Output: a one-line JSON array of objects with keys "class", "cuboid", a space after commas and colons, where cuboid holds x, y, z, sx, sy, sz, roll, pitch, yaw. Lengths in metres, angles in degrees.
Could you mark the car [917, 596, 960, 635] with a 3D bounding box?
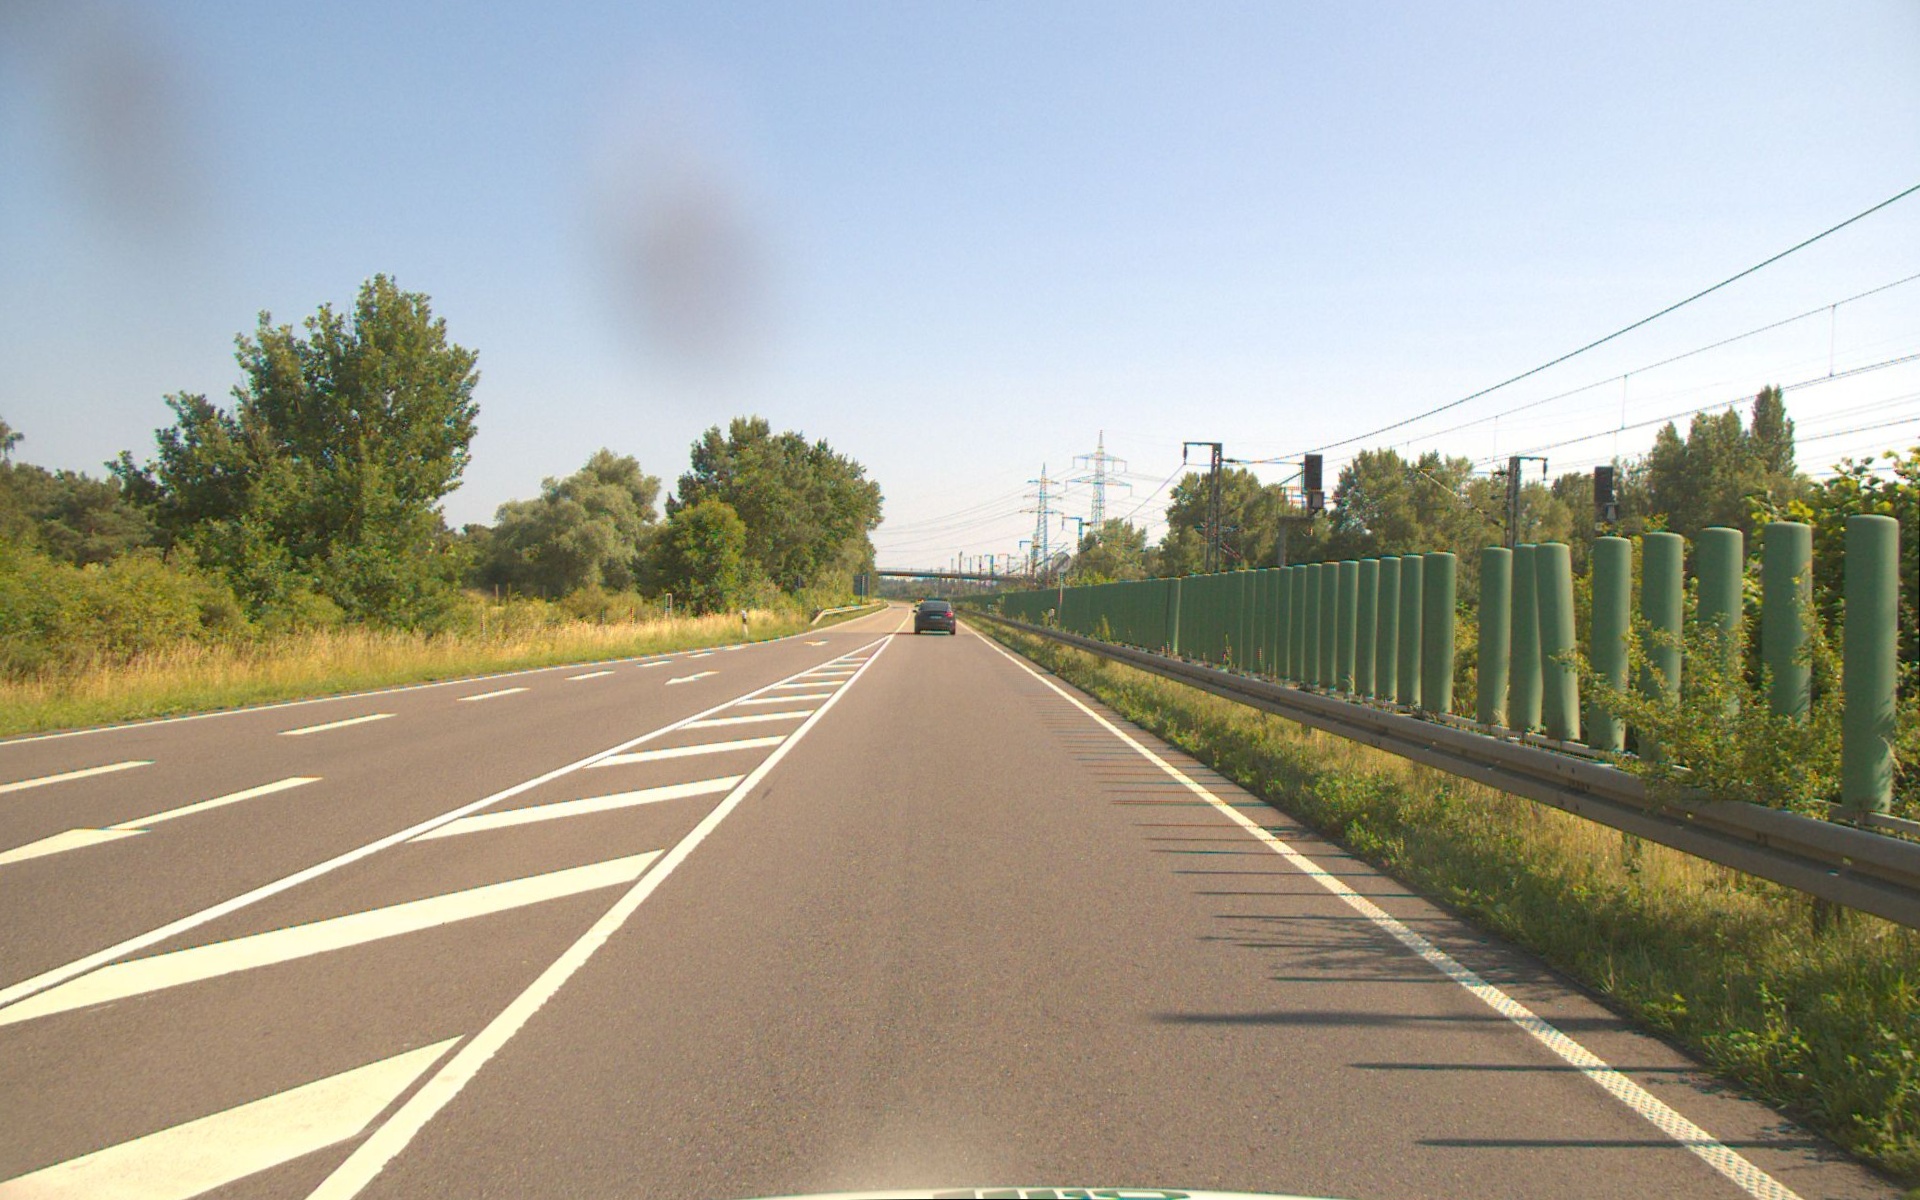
[{"class": "car", "cuboid": [-0.968, 0.675, 72.998, 1.821, 1.670, 3.999, 0, 0, -1]}]
